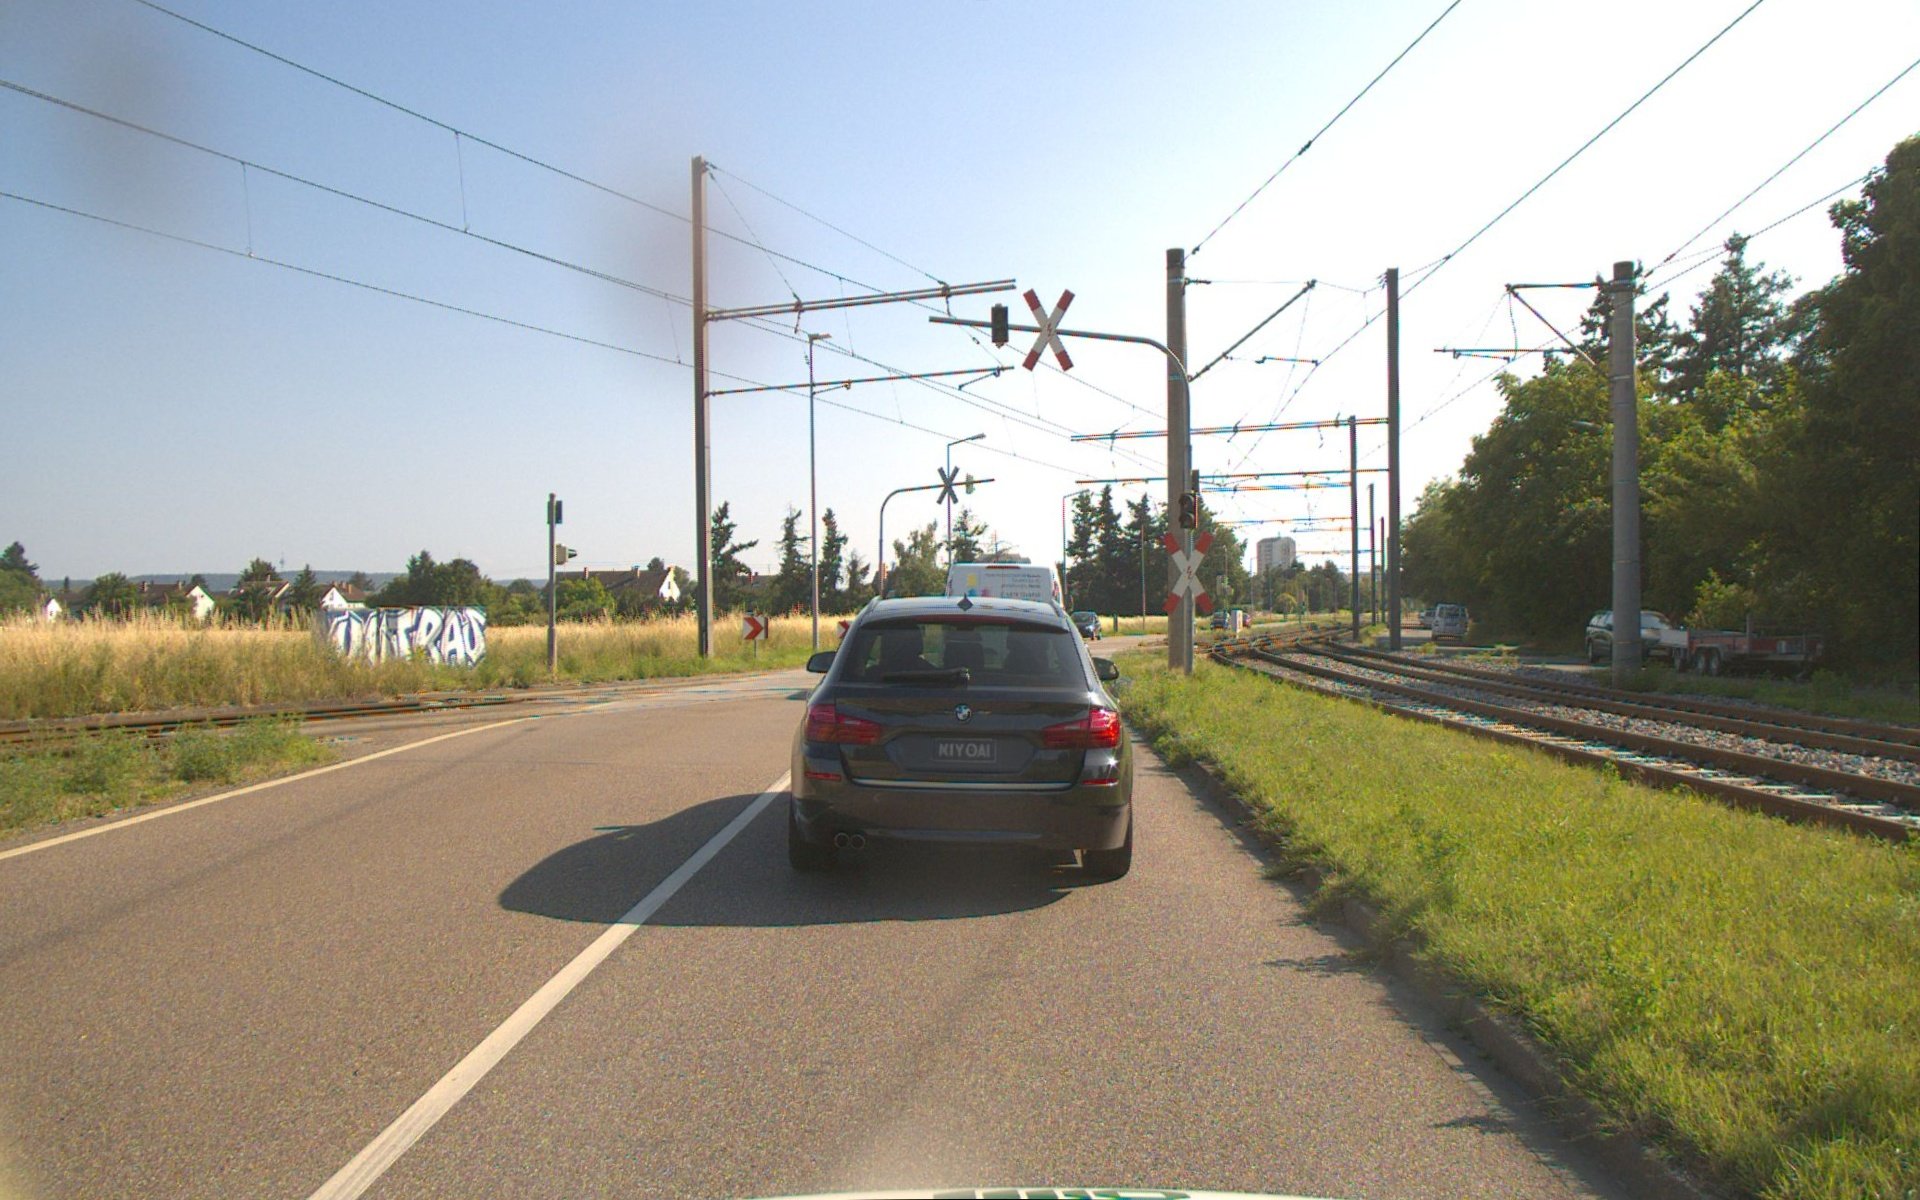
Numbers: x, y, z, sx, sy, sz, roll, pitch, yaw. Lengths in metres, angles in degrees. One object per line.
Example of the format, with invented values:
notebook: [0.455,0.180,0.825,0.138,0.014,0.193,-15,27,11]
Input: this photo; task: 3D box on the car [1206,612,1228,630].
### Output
car: [24.742,2.015,159.279,1.670,1.694,4.593,0,0,15]

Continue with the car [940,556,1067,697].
car: [0.788,0.393,26.361,1.818,2.023,5.110,0,0,4]

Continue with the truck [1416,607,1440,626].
truck: [46.469,1.663,164.454,2.157,1.851,5.933,0,-1,15]

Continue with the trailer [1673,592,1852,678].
trailer: [16.698,0.707,34.657,1.984,1.624,4.262,2,0,6]

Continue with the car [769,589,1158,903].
car: [0.006,0.679,10.177,1.831,1.478,4.743,0,0,0]

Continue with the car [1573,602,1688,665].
car: [17.527,0.835,43.433,1.662,1.482,4.884,2,0,9]

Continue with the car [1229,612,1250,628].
car: [29.605,2.108,175.083,1.676,1.576,3.930,0,0,17]

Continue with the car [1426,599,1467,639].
car: [26.867,1.038,91.475,1.951,2.039,5.071,2,0,14]

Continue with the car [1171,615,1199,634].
car: [17.888,1.944,131.278,1.657,1.465,4.287,0,0,15]

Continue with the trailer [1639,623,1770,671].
trailer: [17.322,1.069,38.658,1.695,0.956,3.730,3,0,6]
